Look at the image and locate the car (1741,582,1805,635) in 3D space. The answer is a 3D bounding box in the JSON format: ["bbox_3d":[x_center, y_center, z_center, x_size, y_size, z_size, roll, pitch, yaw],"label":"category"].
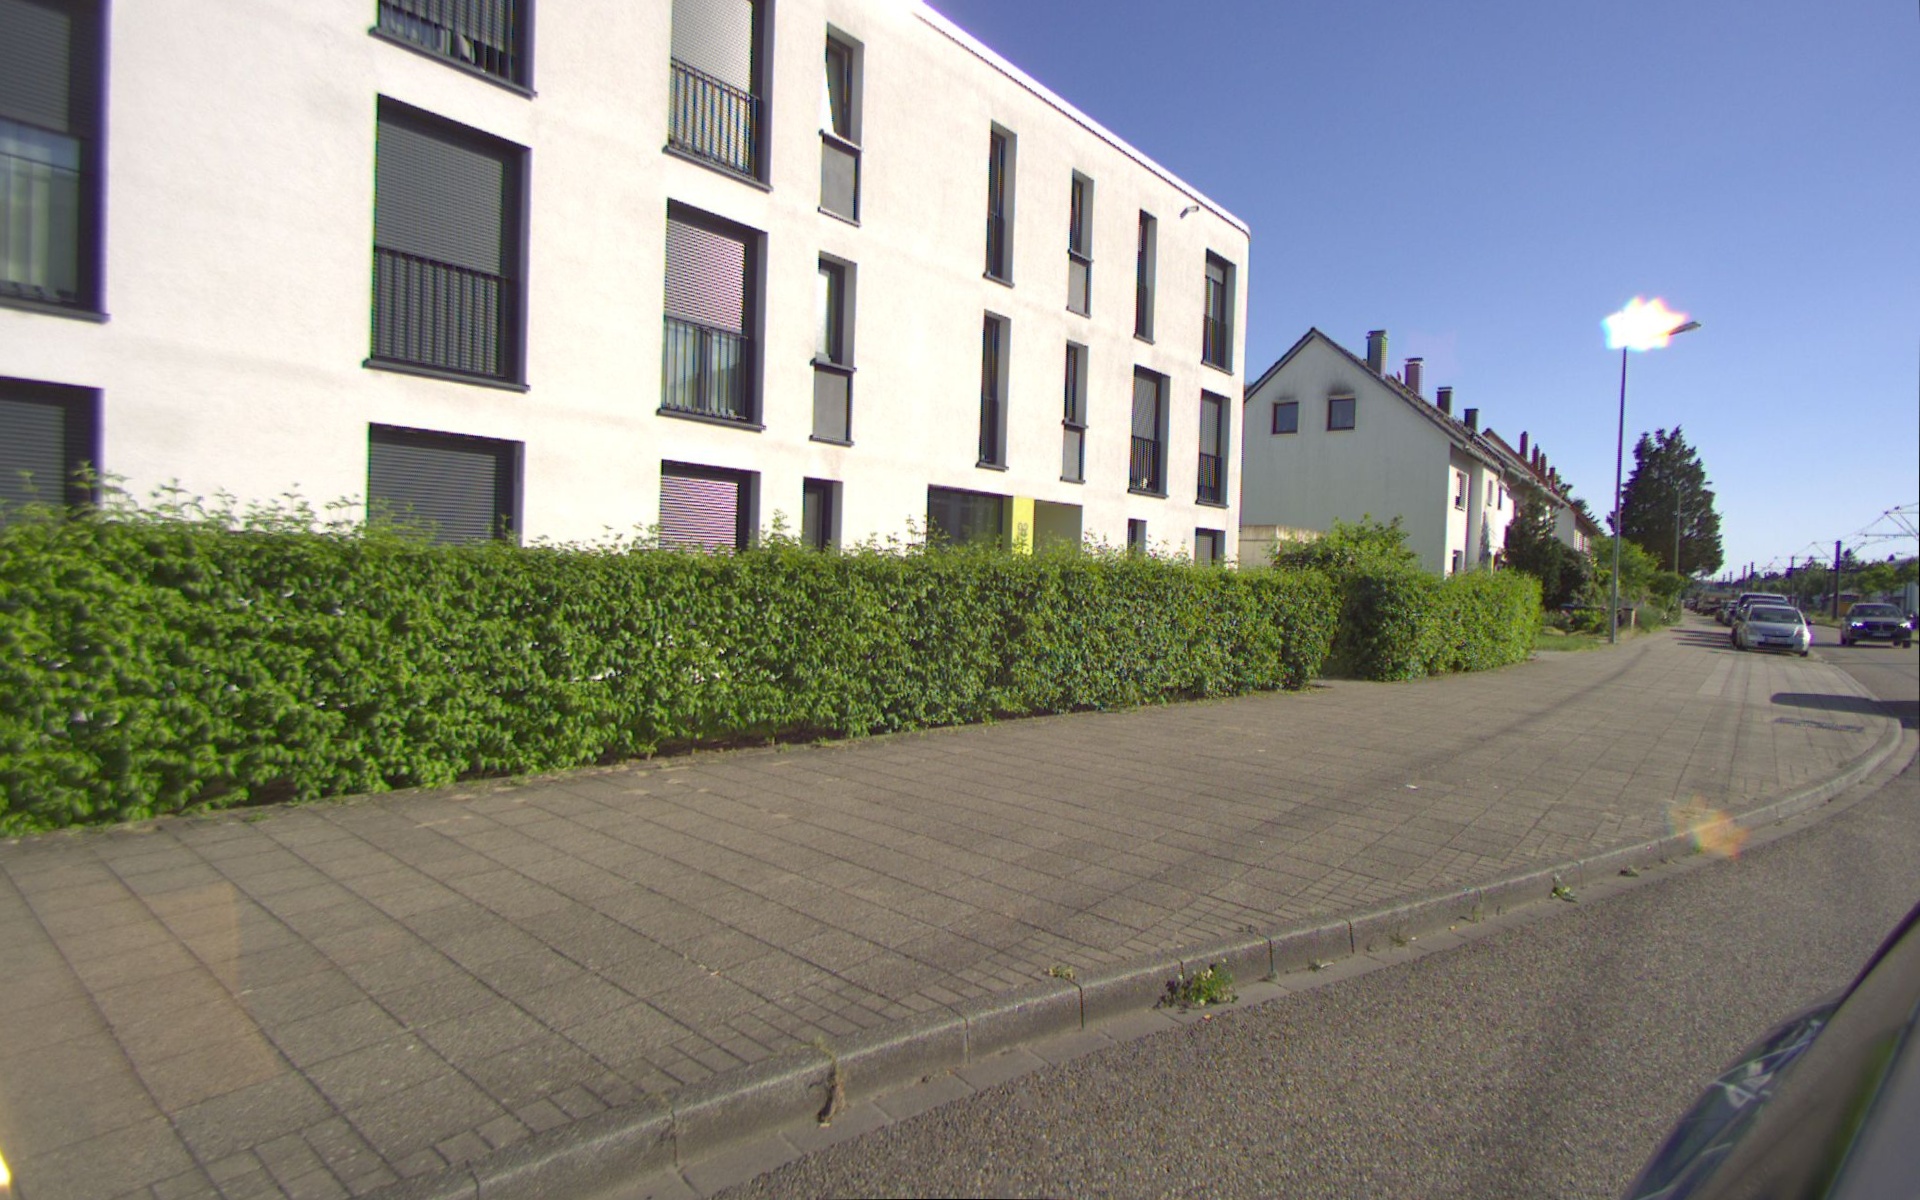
[{"bbox_3d":[34.398,0.345,42.784,1.887,1.986,3.954,5,3,40],"label":"car"}]

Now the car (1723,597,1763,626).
[{"bbox_3d":[48.829,0.696,63.067,1.694,1.633,3.954,5,3,40],"label":"car"}]

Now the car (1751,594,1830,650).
[{"bbox_3d":[25.367,0.637,30.896,1.694,1.492,3.954,5,3,40],"label":"car"}]

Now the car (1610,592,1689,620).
[{"bbox_3d":[44.562,0.359,65.435,3.987,1.705,1.968,1,0,44],"label":"car"}]

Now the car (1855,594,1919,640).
[{"bbox_3d":[35.258,0.615,38.319,1.887,1.533,3.698,6,3,40],"label":"car"}]

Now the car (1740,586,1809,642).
[{"bbox_3d":[28.618,0.467,35.512,1.694,1.723,3.954,5,3,40],"label":"car"}]
